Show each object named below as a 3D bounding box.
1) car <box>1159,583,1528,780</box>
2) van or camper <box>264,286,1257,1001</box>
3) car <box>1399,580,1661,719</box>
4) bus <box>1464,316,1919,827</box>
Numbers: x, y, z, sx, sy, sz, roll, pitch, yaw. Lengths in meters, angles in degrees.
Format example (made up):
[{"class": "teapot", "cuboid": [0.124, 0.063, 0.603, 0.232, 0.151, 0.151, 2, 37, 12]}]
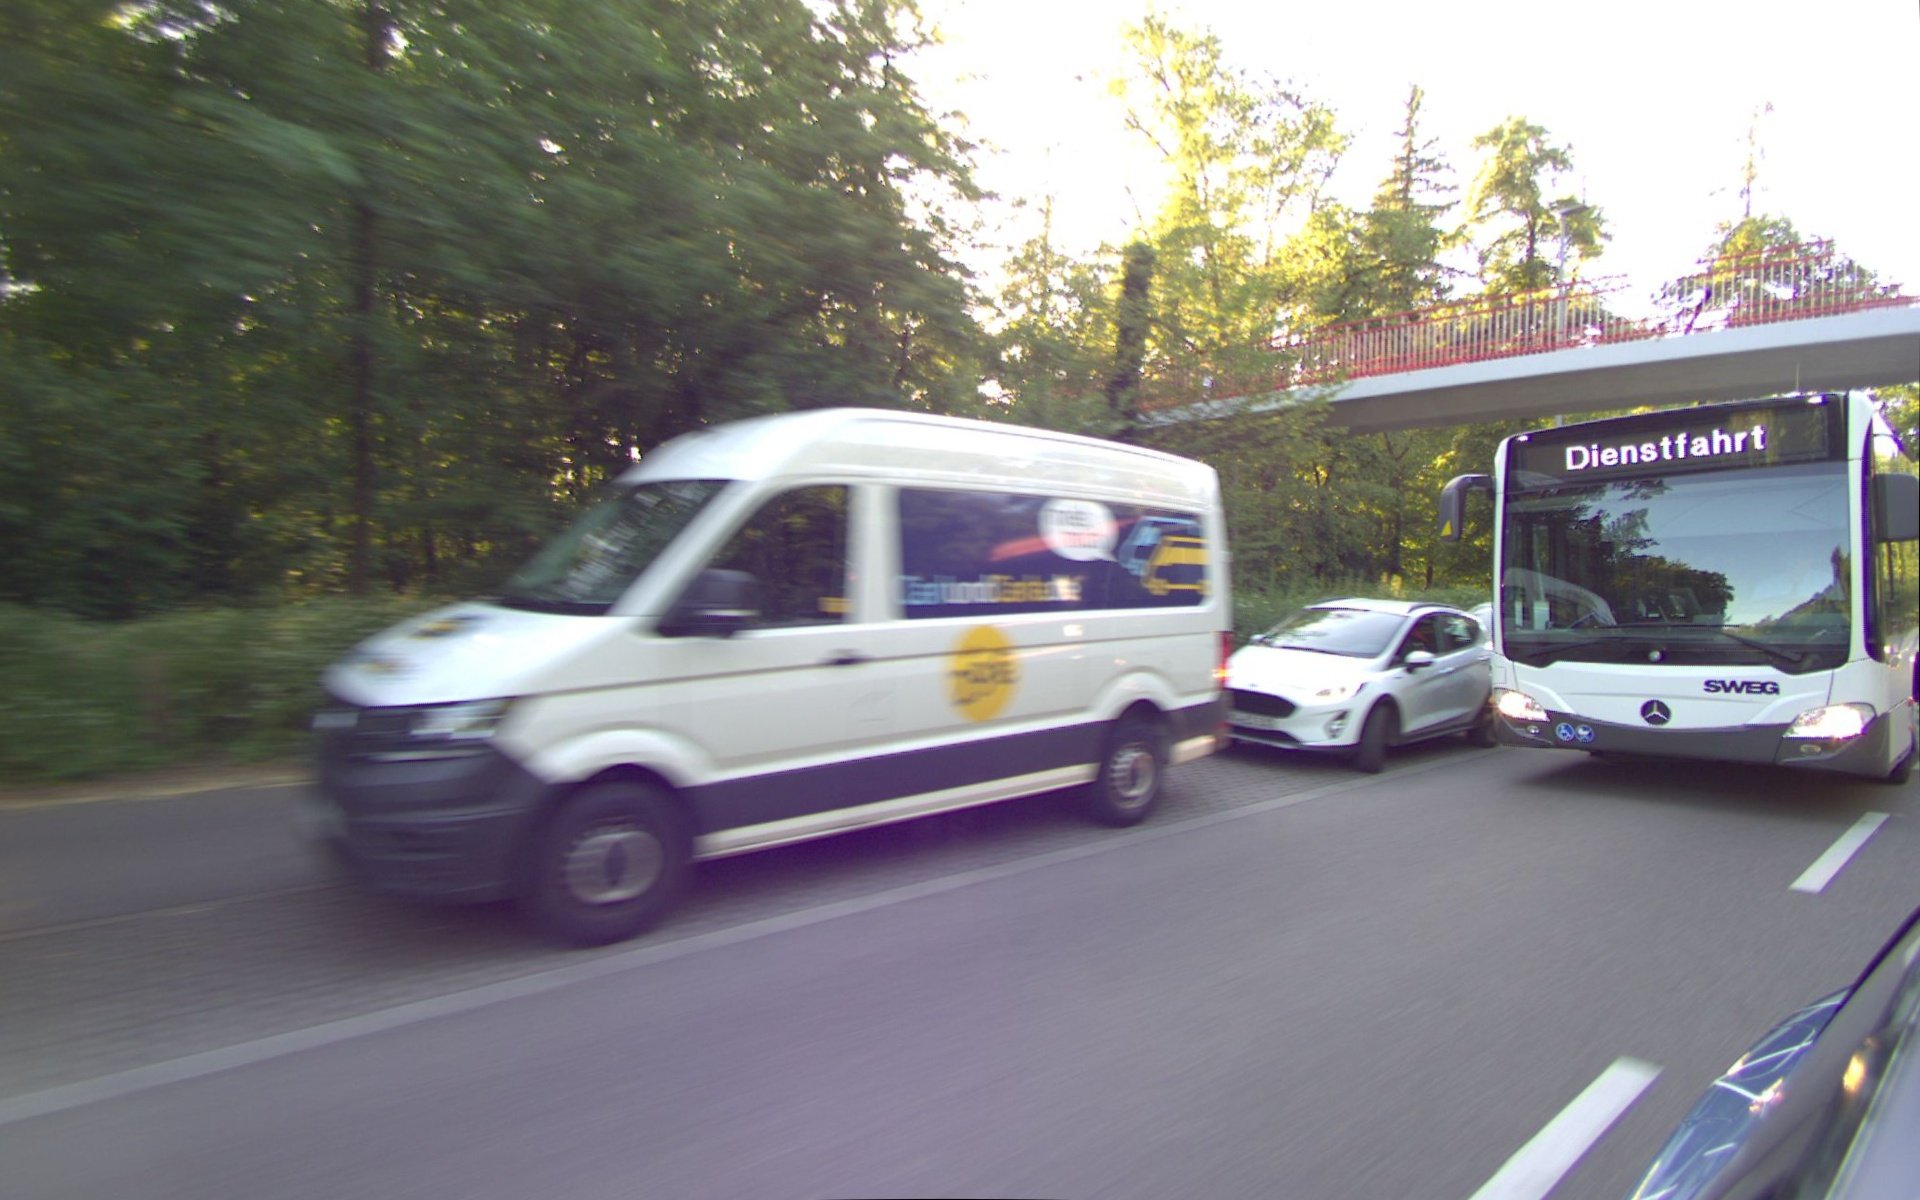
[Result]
[{"class": "car", "cuboid": [3.953, 0.640, 10.090, 4.074, 1.514, 1.726, 0, 3, -42]}, {"class": "van or camper", "cuboid": [-0.687, 0.134, 6.381, 5.877, 2.549, 2.122, 0, 1, -42]}, {"class": "car", "cuboid": [7.638, 0.558, 13.458, 3.706, 1.514, 1.728, 0, 3, -39]}, {"class": "bus", "cuboid": [9.589, -0.177, 11.536, 12.068, 3.263, 2.708, 0, 0, -42]}]
